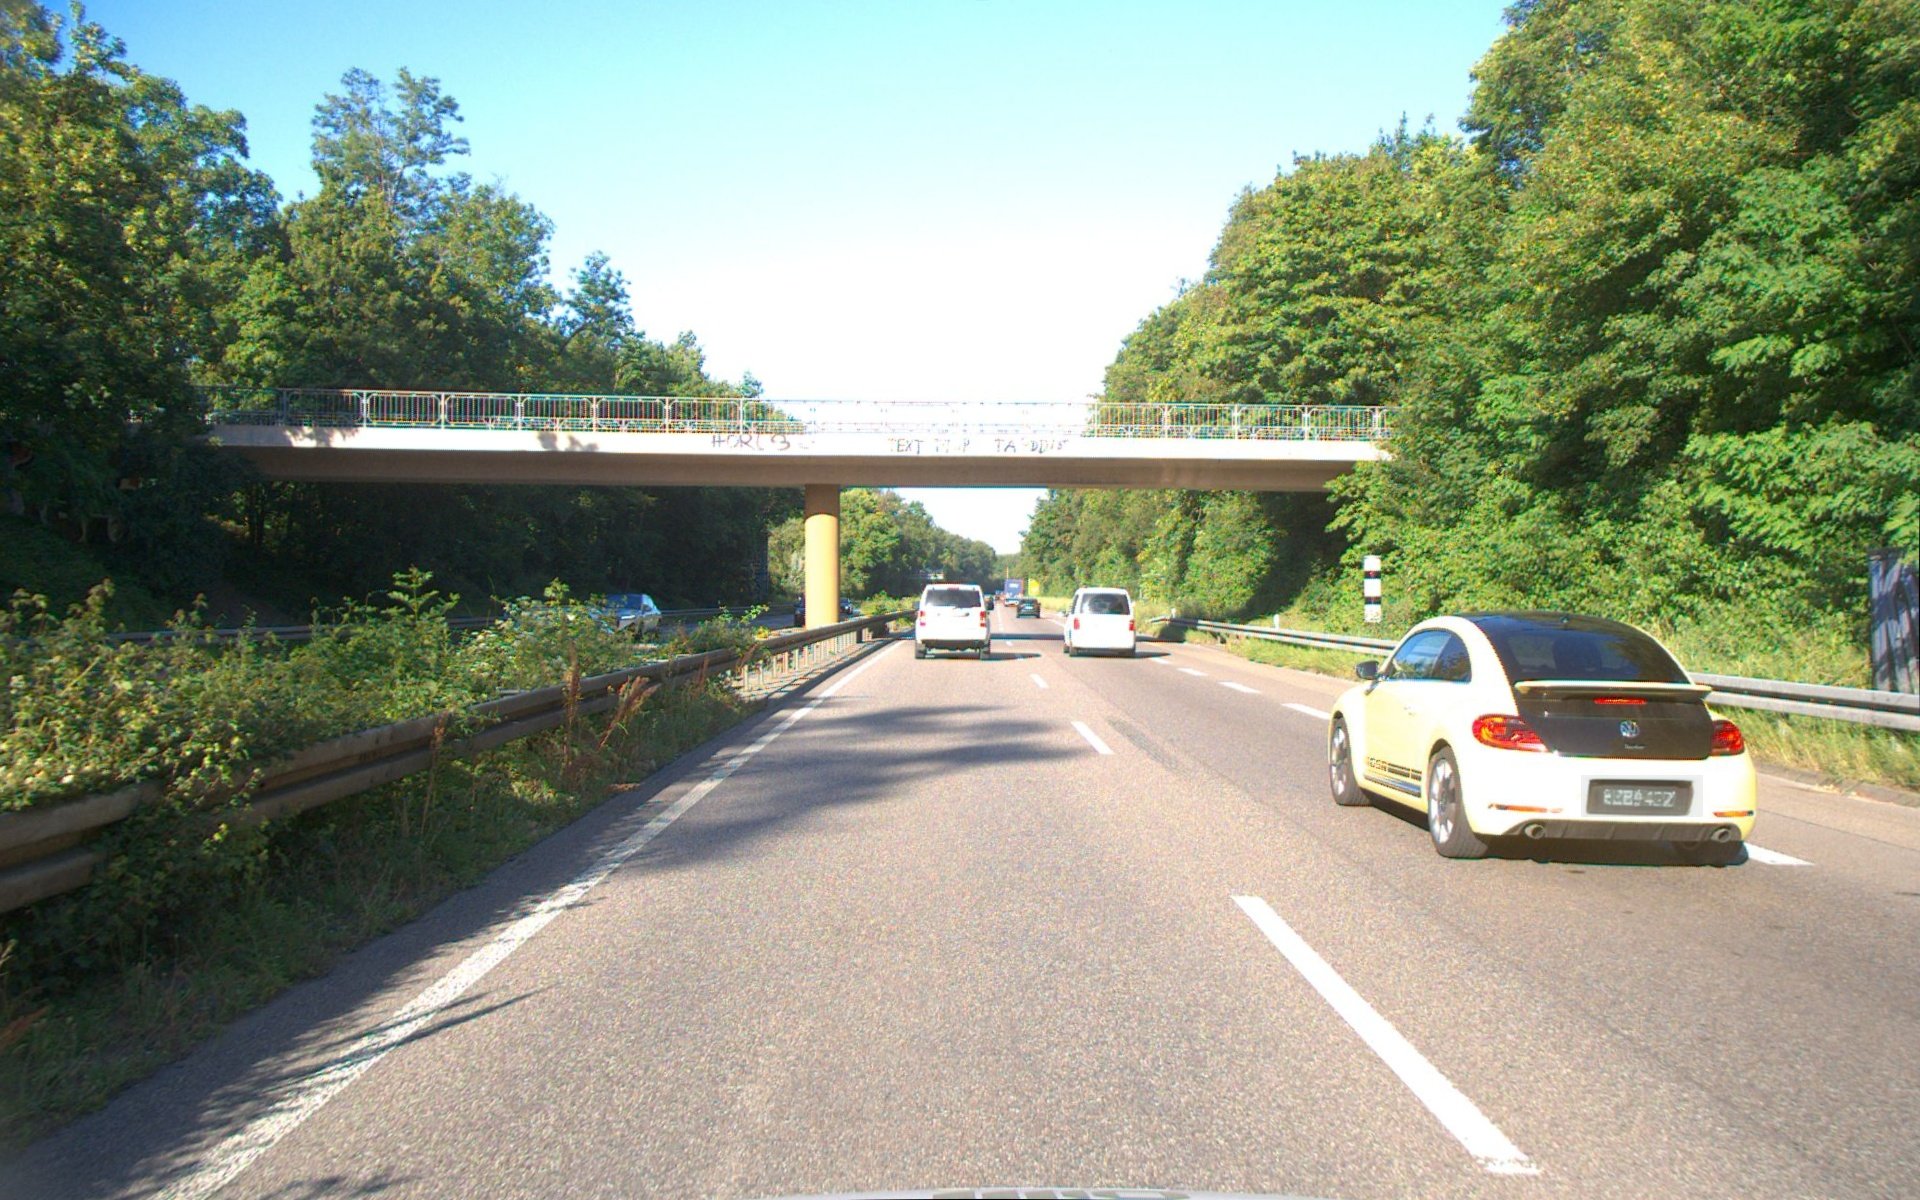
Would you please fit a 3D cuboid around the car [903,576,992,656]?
[{"bbox_3d":[-0.369,0.369,40.570,2.043,1.860,3.998,0,0,-3],"label":"car"}]

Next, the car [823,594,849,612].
[{"bbox_3d":[-10.798,0.236,144.576,1.920,1.475,4.584,1,0,0],"label":"car"}]

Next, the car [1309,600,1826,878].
[{"bbox_3d":[3.812,0.767,11.295,1.841,1.487,4.355,1,0,-1],"label":"car"}]

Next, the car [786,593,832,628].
[{"bbox_3d":[-7.766,0.506,85.390,1.920,1.754,4.592,0,0,0],"label":"car"}]

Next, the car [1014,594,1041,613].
[{"bbox_3d":[5.016,0.254,123.611,1.952,1.422,4.001,0,0,1],"label":"car"}]

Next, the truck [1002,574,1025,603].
[{"bbox_3d":[7.959,-1.725,246.854,3.424,4.246,8.863,0,0,1],"label":"truck"}]

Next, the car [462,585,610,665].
[{"bbox_3d":[-8.574,0.463,33.892,1.814,1.515,4.784,0,0,0],"label":"car"}]

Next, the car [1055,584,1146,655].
[{"bbox_3d":[3.727,0.492,44.616,1.826,1.801,4.467,0,0,-3],"label":"car"}]

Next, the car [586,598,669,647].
[{"bbox_3d":[-12.051,0.782,60.280,1.920,1.688,5.041,0,0,1],"label":"car"}]
